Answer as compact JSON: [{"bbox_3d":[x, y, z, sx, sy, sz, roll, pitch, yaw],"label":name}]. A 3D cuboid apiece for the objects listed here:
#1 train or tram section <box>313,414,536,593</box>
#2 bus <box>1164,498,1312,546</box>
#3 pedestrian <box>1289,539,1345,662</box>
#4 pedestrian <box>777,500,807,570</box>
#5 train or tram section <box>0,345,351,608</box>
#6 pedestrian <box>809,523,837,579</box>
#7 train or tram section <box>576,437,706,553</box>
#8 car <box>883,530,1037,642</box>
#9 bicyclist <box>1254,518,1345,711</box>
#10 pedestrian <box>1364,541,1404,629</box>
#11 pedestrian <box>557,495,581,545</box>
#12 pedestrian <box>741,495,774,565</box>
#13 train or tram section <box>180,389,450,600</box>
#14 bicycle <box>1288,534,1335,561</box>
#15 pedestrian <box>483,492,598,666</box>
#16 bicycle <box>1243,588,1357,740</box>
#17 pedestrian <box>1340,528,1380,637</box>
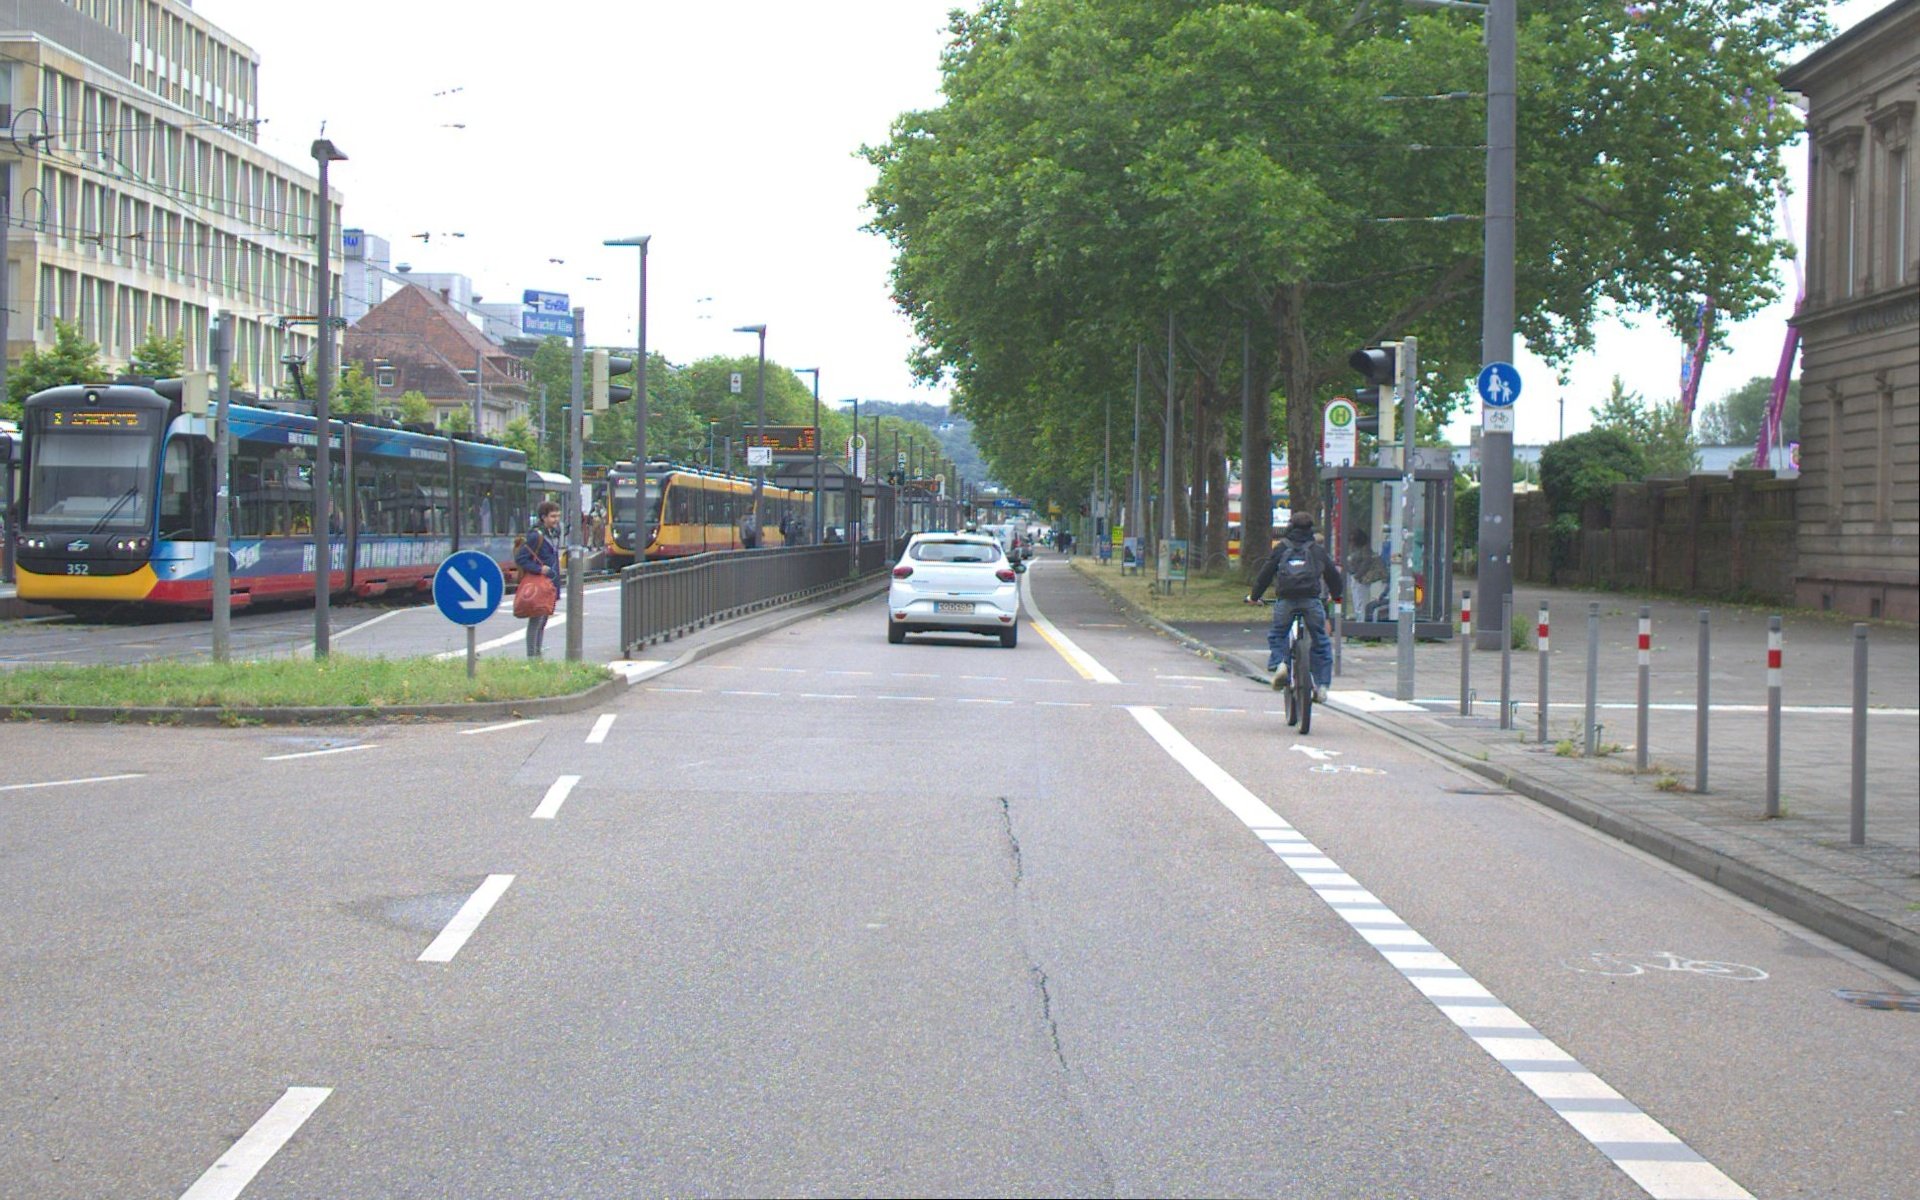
[{"bbox_3d":[-11.954,-2.076,78.181,2.854,3.679,13.521,1,1,0],"label":"train or tram section"},{"bbox_3d":[17.924,-5.020,221.925,9.277,2.949,2.000,1,0,-1],"label":"bus"},{"bbox_3d":[4.499,0.004,43.336,0.552,1.523,0.638,1,0,19],"label":"pedestrian"},{"bbox_3d":[-4.364,-1.692,89.465,0.670,1.787,1.113,1,0,-7],"label":"pedestrian"},{"bbox_3d":[-12.063,-1.778,53.854,2.854,3.628,11.766,1,1,0],"label":"train or tram section"},{"bbox_3d":[-3.306,-1.187,83.043,0.610,1.336,0.600,1,0,2],"label":"pedestrian"},{"bbox_3d":[-11.257,-3.660,122.578,3.237,3.848,11.311,1,1,2],"label":"train or tram section"},{"bbox_3d":[0.042,-0.205,47.184,1.885,1.448,4.000,1,1,3],"label":"car"},{"bbox_3d":[2.725,0.111,27.657,0.641,1.525,0.665,1,0,-1],"label":"bicyclist"},{"bbox_3d":[5.982,-0.217,48.536,0.476,1.230,0.702,1,0,1],"label":"pedestrian"},{"bbox_3d":[-13.995,-2.864,123.126,0.711,1.789,1.160,1,0,0],"label":"pedestrian"},{"bbox_3d":[-5.228,-1.805,88.636,0.670,1.787,1.113,1,0,-12],"label":"pedestrian"},{"bbox_3d":[-12.074,-1.889,65.545,2.854,3.628,11.700,1,1,0],"label":"train or tram section"},{"bbox_3d":[14.744,-2.216,144.317,1.890,1.101,0.550,-1,1,0],"label":"bicycle"},{"bbox_3d":[-4.008,-0.201,32.860,0.858,1.637,0.653,0,1,-41],"label":"pedestrian"},{"bbox_3d":[2.722,0.489,27.688,0.652,1.146,2.283,1,1,-1],"label":"bicycle"},{"bbox_3d":[5.783,-0.258,49.675,0.476,1.558,0.702,1,0,1],"label":"pedestrian"}]
